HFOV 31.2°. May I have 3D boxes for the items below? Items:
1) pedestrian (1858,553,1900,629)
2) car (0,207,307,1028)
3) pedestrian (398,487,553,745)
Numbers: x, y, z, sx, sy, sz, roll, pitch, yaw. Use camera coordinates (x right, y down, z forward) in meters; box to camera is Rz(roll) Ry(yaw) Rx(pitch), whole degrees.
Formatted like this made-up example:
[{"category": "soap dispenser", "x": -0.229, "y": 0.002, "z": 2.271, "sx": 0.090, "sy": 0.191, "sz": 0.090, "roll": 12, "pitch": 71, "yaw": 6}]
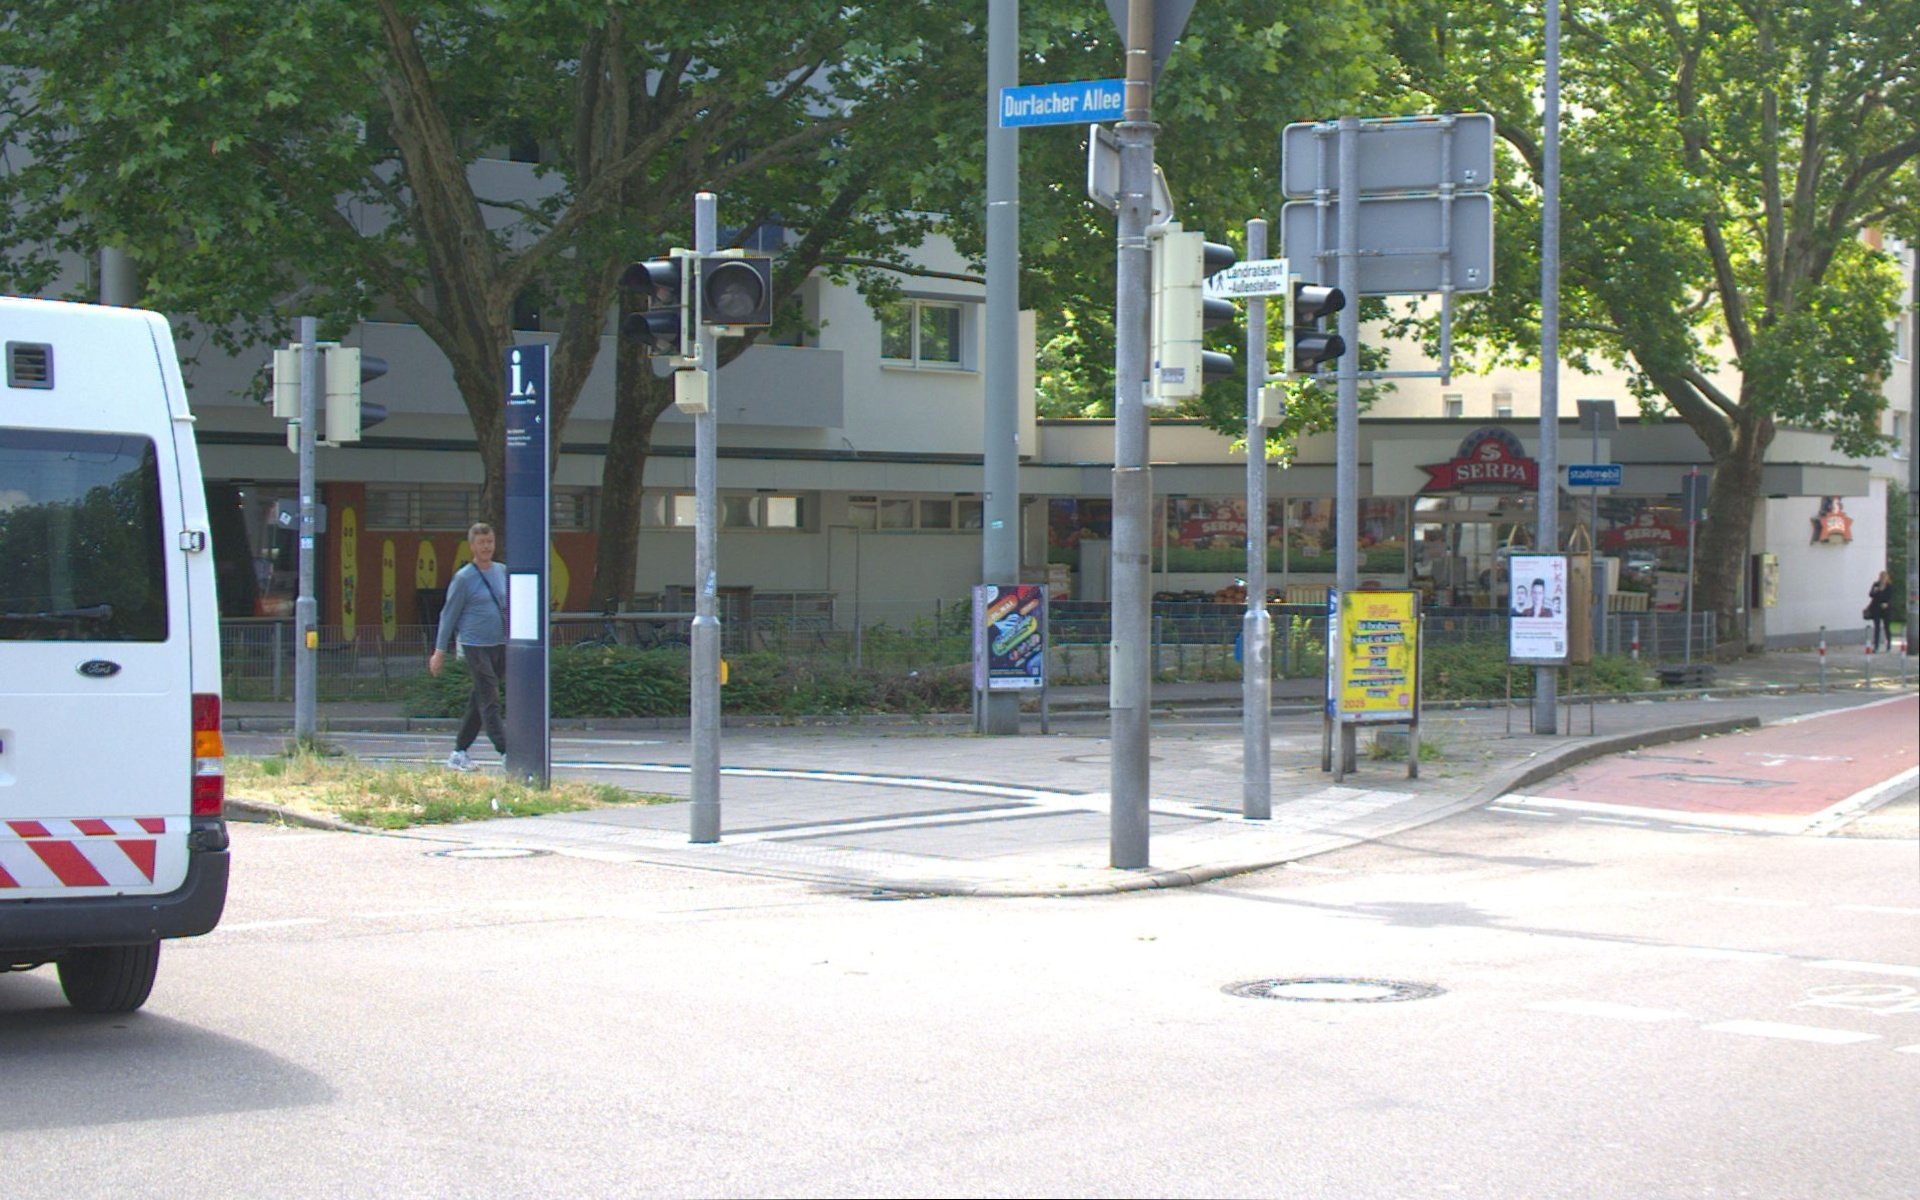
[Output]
[{"category": "pedestrian", "x": 18.038, "y": -0.183, "z": 67.488, "sx": 0.670, "sy": 1.474, "sz": 0.574, "roll": 1, "pitch": 1, "yaw": 30}, {"category": "car", "x": -4.084, "y": 0.014, "z": 11.670, "sx": 2.047, "sy": 2.325, "sz": 4.714, "roll": -2, "pitch": 2, "yaw": -32}, {"category": "pedestrian", "x": -3.412, "y": 0.101, "z": 24.179, "sx": 0.692, "sy": 1.777, "sz": 0.886, "roll": -1, "pitch": 1, "yaw": -42}]
